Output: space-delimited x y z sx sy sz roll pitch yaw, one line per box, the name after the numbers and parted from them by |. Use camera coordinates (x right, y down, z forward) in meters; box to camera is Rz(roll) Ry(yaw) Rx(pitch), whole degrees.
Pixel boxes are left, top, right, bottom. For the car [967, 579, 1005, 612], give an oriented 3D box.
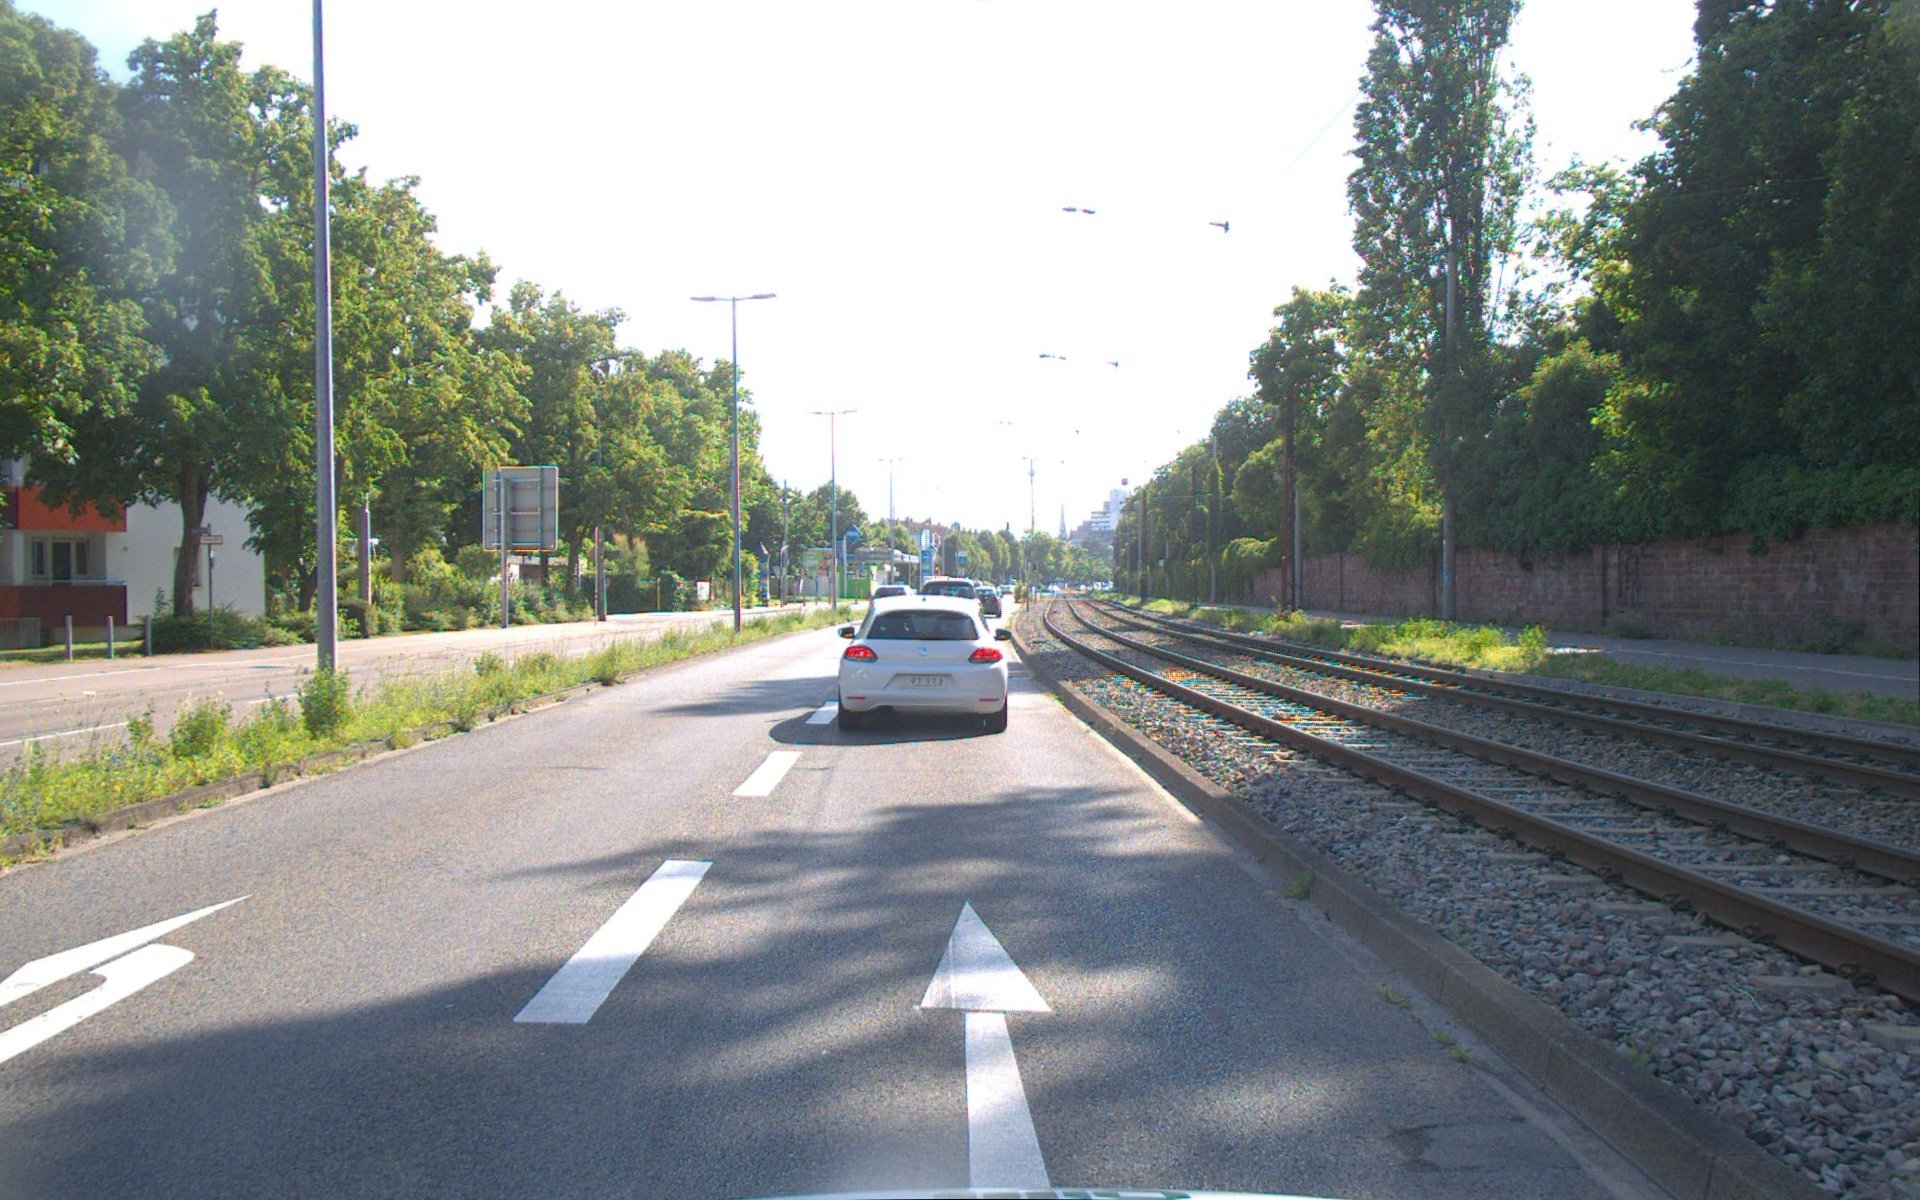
1.240 -0.218 79.163 1.713 1.511 3.601 1 1 0 | car

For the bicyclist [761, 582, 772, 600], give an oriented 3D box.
-15.294 -0.713 130.731 0.647 1.478 1.052 -1 0 7 | bicyclist

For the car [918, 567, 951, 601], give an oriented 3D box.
-1.510 -0.948 99.834 1.780 1.997 4.404 -1 0 2 | car

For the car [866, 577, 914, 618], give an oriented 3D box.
-2.731 -0.115 65.401 1.724 1.511 4.645 1 1 0 | car

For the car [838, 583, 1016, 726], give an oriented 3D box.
-0.336 0.527 18.286 1.744 1.380 3.601 1 1 0 | car

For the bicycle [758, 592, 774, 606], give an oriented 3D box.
-15.292 -0.054 130.657 0.647 1.067 2.582 -1 0 7 | bicycle

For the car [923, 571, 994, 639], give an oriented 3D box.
-0.046 0.102 41.897 1.689 1.620 3.601 1 1 0 | car
